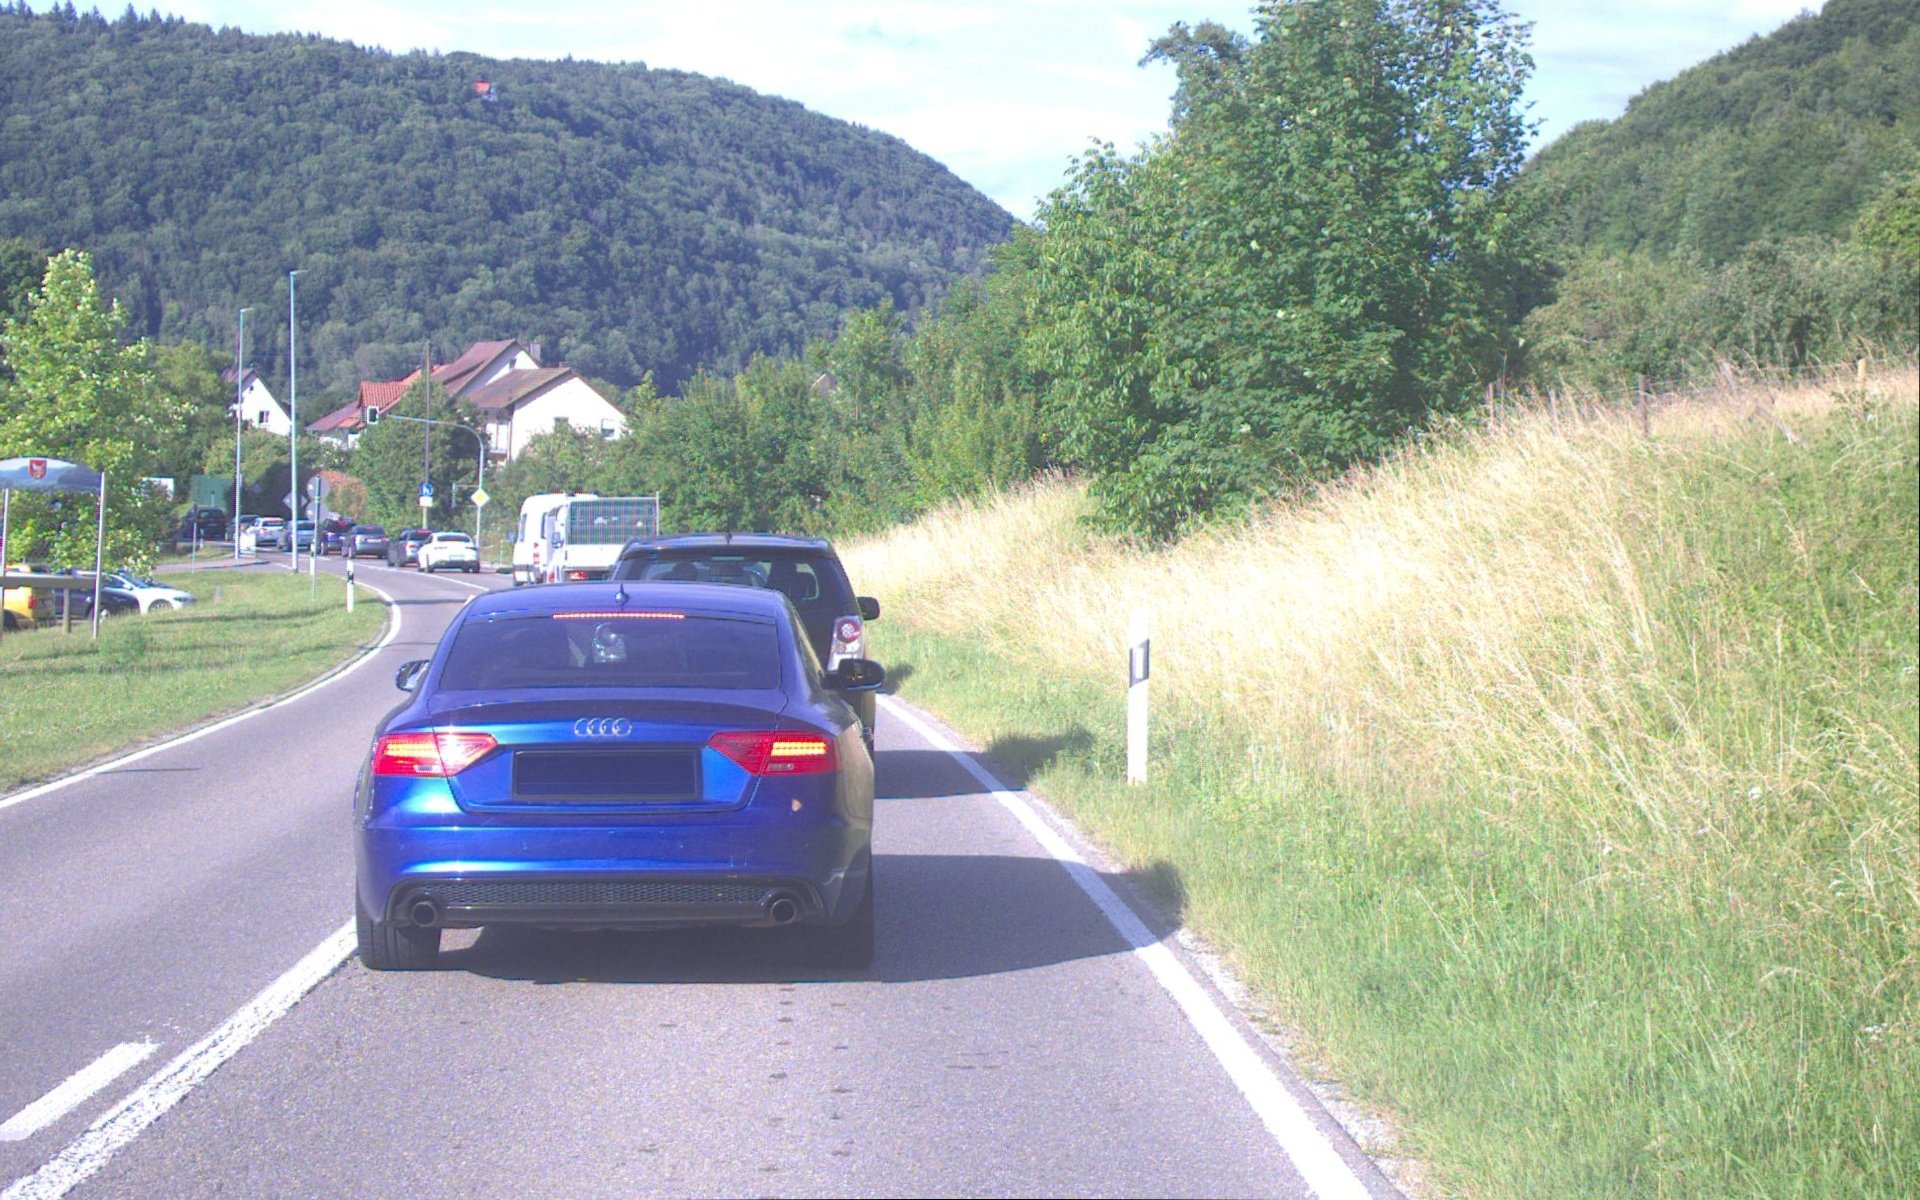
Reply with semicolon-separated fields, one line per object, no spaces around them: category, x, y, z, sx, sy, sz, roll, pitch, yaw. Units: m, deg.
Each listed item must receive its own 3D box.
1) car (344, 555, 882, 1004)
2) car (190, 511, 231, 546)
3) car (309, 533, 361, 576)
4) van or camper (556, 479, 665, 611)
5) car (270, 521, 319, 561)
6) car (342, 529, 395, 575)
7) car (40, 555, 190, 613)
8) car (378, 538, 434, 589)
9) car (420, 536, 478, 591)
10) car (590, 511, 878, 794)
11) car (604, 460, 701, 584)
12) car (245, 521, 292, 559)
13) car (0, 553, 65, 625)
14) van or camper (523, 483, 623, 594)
car;-1.237;0.563;12.962;1.742;1.445;3.517;0;1;-4
car;-42.248;-4.026;193.768;1.676;1.918;4.001;-1;1;-21
car;-28.694;-2.097;157.743;1.676;1.918;4.001;-1;1;-20
van or camper;-7.031;-1.101;68.869;2.051;2.497;5.813;-1;1;-7
car;-32.522;-2.862;167.986;1.676;1.918;4.001;-1;1;-21
car;-25.571;-2.073;148.560;1.659;1.918;4.001;-1;1;-18
car;-25.448;-0.484;103.570;4.036;1.655;1.655;-1;1;4
car;-21.391;-1.427;132.712;1.659;1.918;4.001;-1;1;-15
car;-18.066;-1.296;121.438;1.659;1.918;4.001;-1;1;-14
car;-1.428;0.281;21.880;1.645;1.619;3.517;1;1;-4
car;-5.247;-1.318;58.451;1.567;2.007;4.001;-1;1;-6
car;-35.648;-3.102;177.150;1.676;1.918;4.001;-1;1;-21
car;-25.687;-0.267;88.909;4.553;1.808;1.841;-1;1;4
van or camper;-9.894;-1.563;87.585;2.280;2.704;5.769;-1;1;-9
